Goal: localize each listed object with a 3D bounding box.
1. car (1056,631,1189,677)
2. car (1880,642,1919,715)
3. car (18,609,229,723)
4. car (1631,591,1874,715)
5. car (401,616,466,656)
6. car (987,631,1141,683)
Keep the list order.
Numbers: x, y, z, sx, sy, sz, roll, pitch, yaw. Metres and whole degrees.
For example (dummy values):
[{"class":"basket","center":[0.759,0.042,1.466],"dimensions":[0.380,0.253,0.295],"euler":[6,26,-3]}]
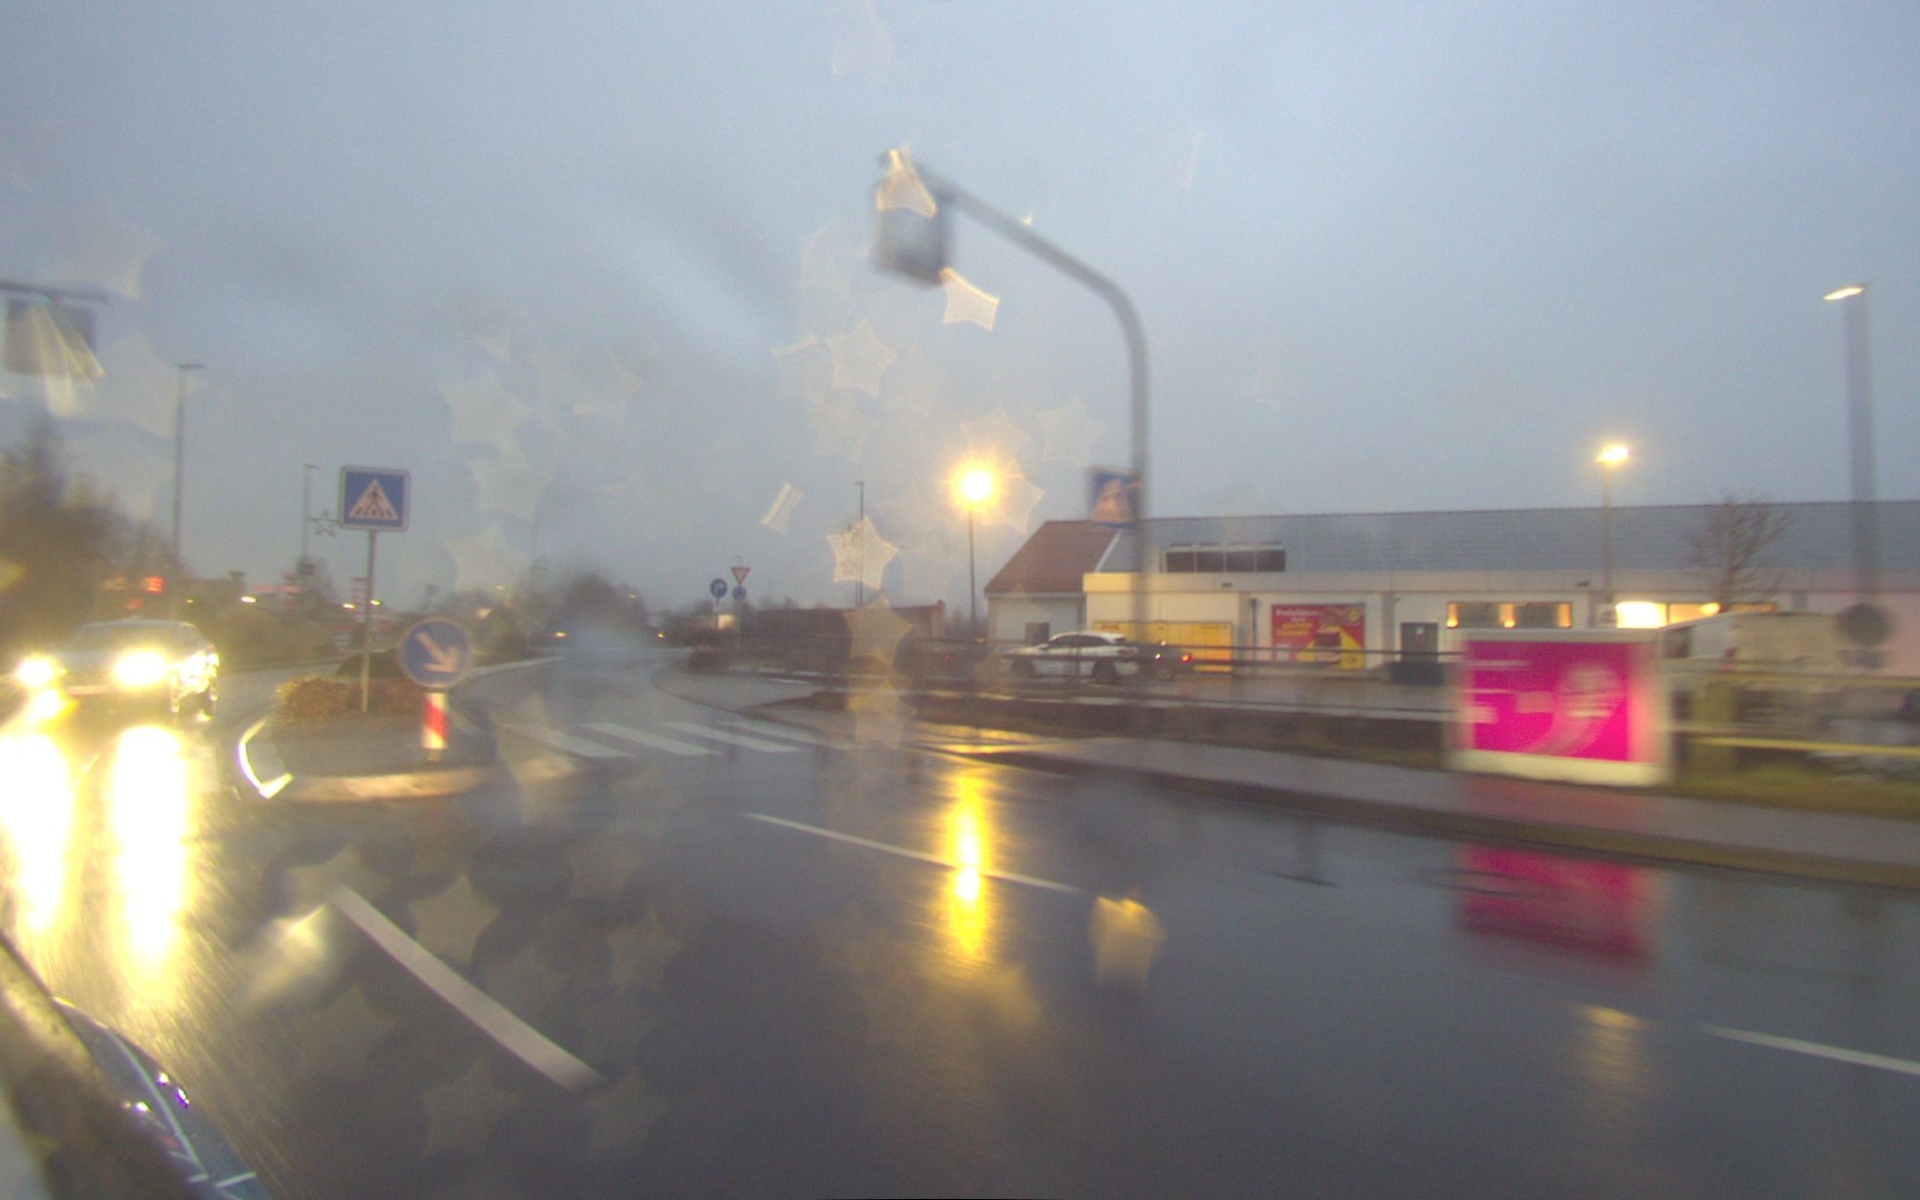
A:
[{"class":"car","center":[6.026,1.964,37.523],"dimensions":[4.619,1.548,1.878],"euler":[0,-2,20]},{"class":"car","center":[21.349,1.609,20.592],"dimensions":[2.037,1.575,4.421],"euler":[-1,-4,16]},{"class":"car","center":[-13.869,1.039,17.084],"dimensions":[1.746,1.654,4.435],"euler":[1,-2,-26]},{"class":"car","center":[16.656,1.173,21.708],"dimensions":[2.199,2.300,5.174],"euler":[-1,-4,16]},{"class":"car","center":[-20.265,1.372,39.060],"dimensions":[1.965,1.484,4.013],"euler":[1,-2,-24]},{"class":"car","center":[3.390,1.815,32.976],"dimensions":[4.750,1.548,1.677],"euler":[0,-2,20]}]
